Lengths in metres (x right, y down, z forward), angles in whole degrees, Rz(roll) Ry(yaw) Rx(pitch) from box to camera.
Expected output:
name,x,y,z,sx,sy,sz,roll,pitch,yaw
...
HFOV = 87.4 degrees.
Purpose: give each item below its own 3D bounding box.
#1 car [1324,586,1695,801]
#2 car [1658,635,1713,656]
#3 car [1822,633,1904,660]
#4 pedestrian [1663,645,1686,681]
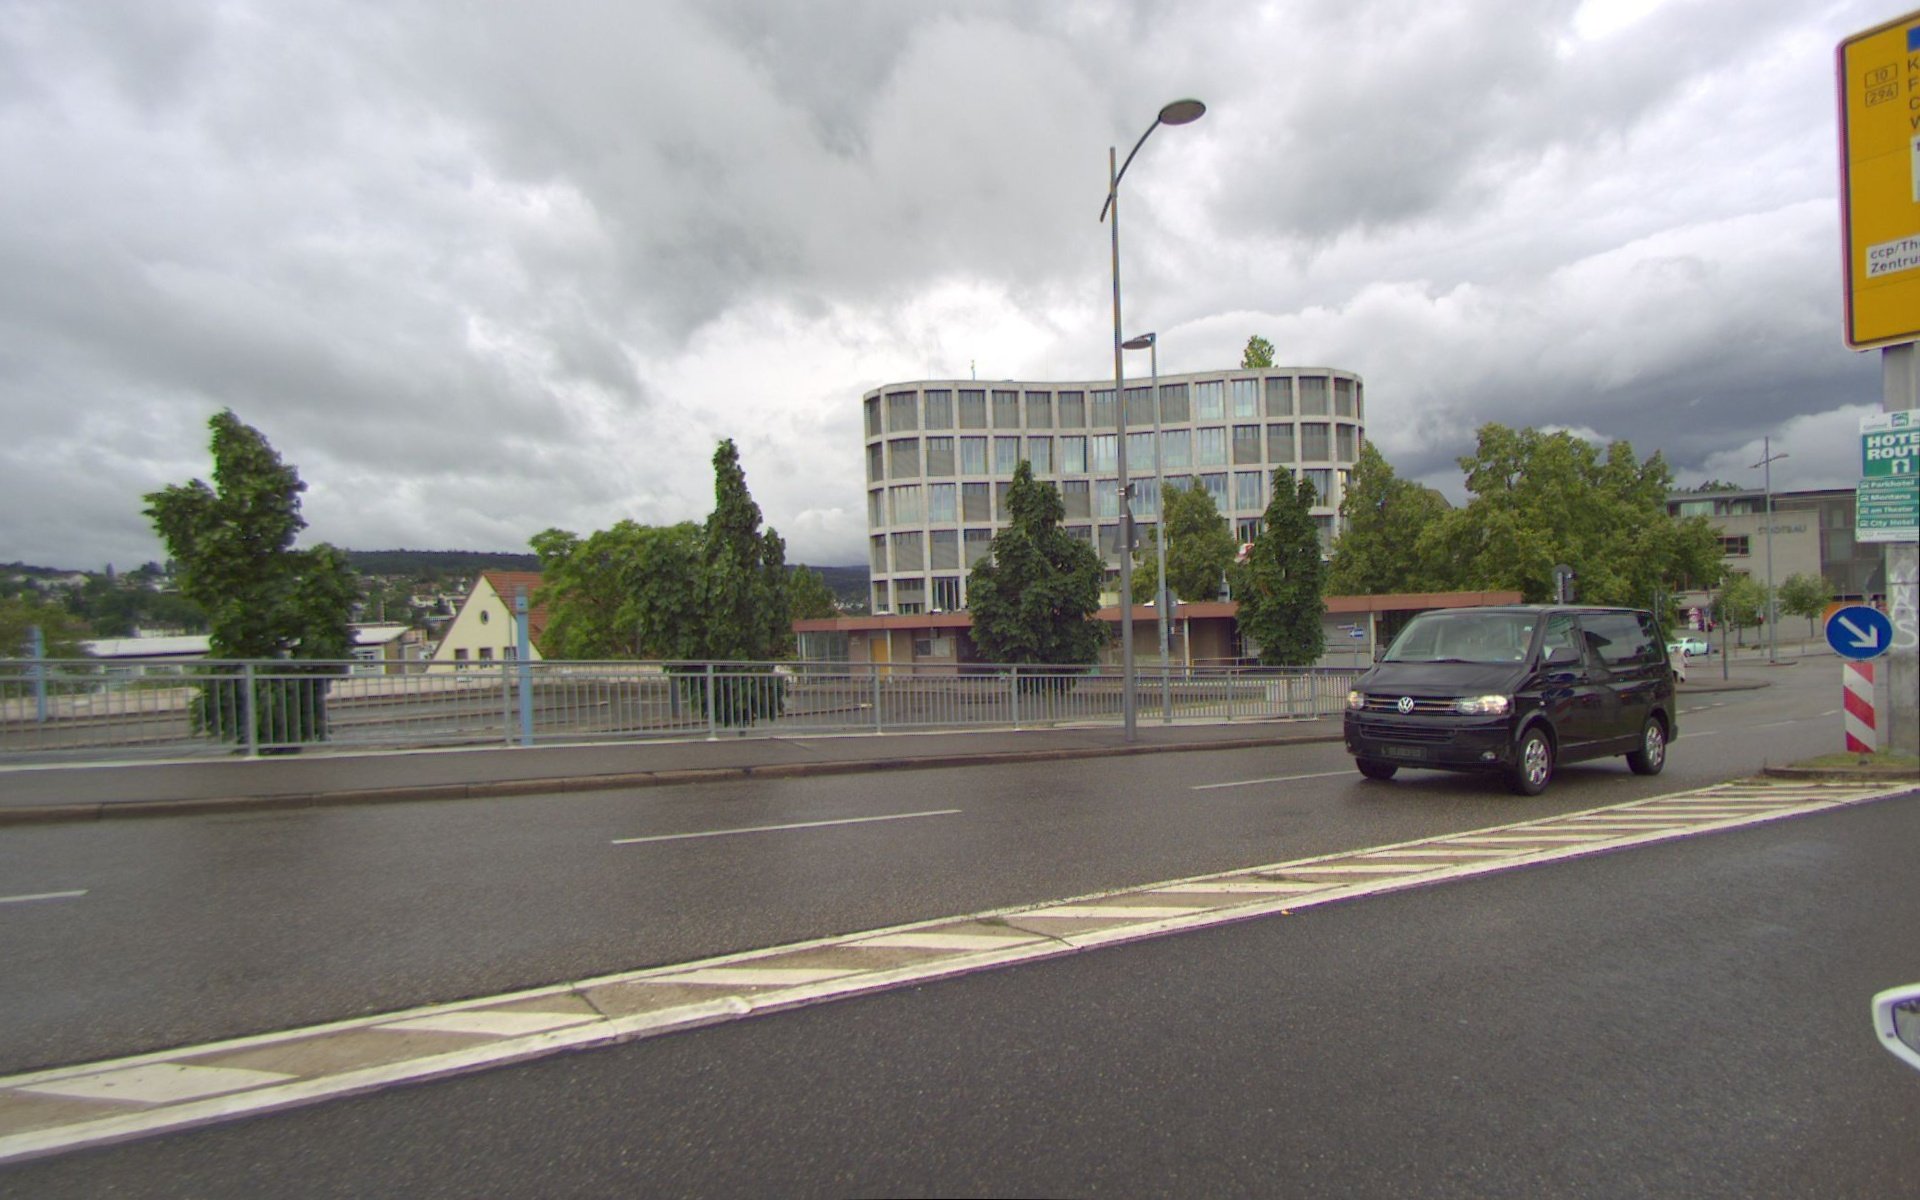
name,x,y,z,sx,sy,sz,roll,pitch,yaw
car,6.354,0.976,11.438,4.638,1.993,1.833,2,-3,-35
car,57.842,3.632,80.130,3.522,1.515,1.628,-2,-2,-15
car,60.902,3.143,67.819,3.604,1.457,1.829,-6,-3,23
pedestrian,31.642,2.779,44.480,0.645,1.590,0.627,-5,-5,44
